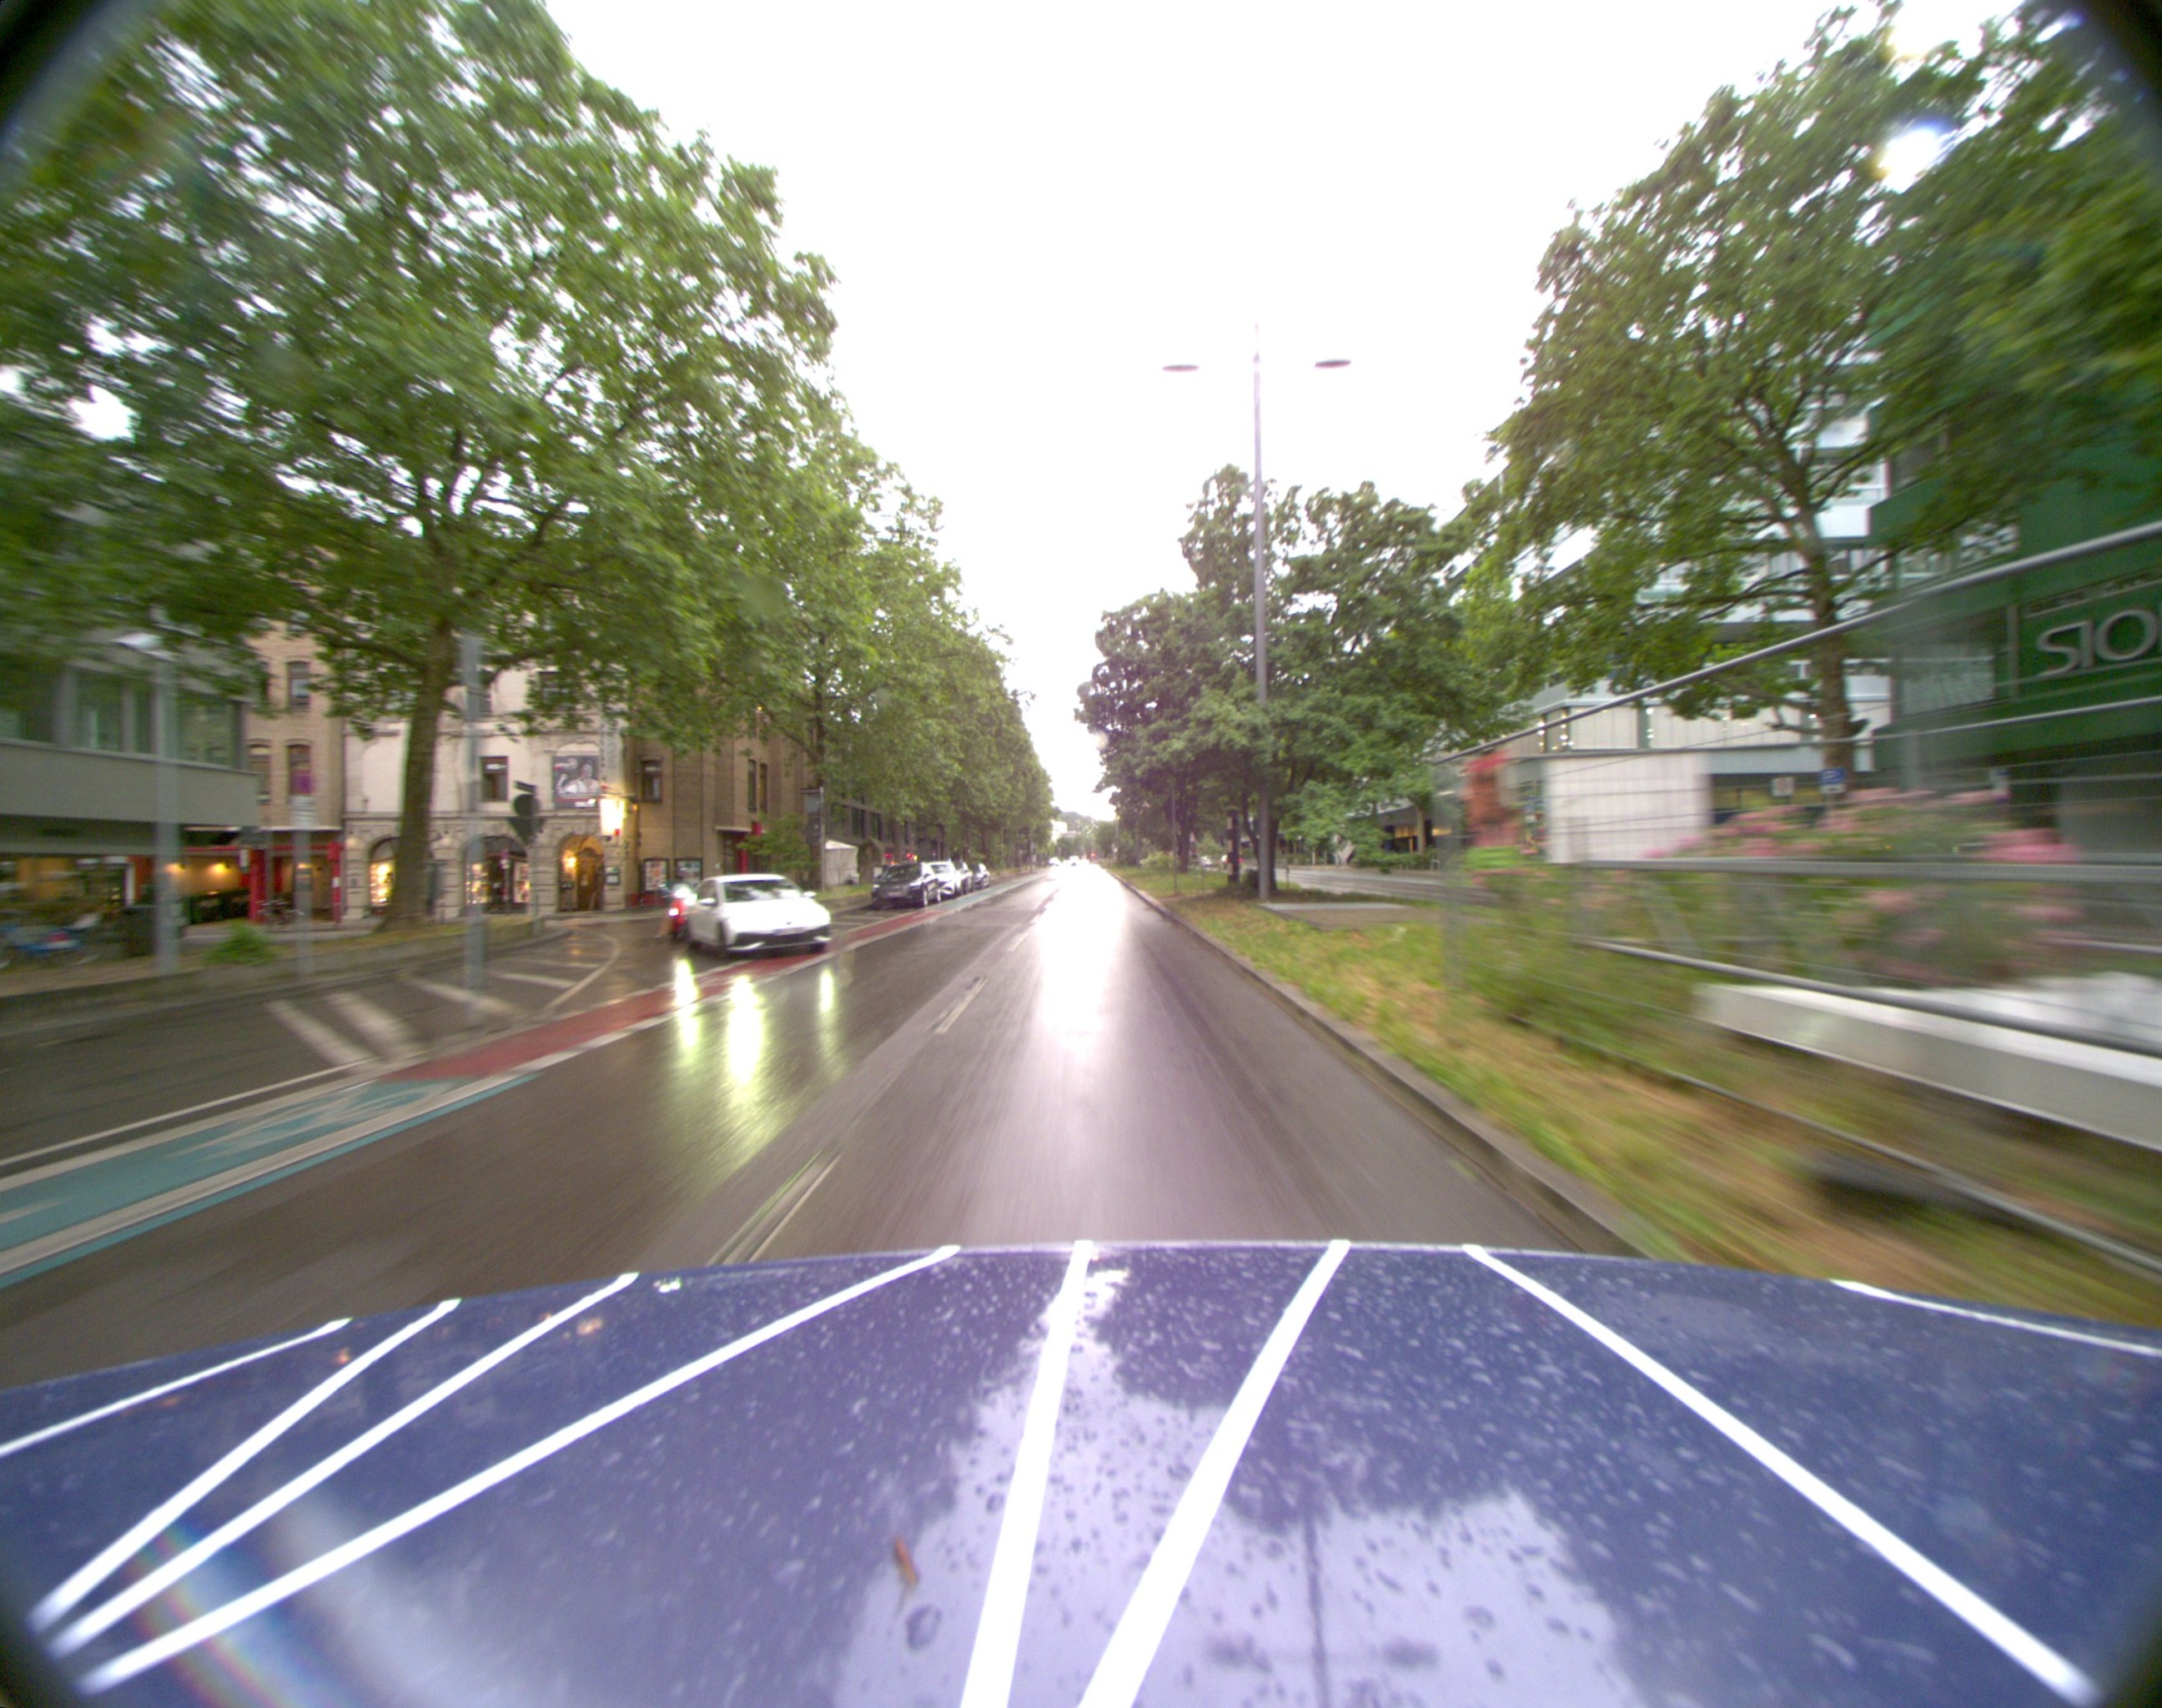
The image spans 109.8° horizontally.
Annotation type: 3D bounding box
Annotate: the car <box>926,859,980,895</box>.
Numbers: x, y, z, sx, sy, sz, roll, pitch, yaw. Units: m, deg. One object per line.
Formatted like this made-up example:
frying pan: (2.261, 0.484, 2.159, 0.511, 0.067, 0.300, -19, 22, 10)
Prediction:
car: (-6.352, 1.117, 38.290, 1.999, 1.580, 4.560, -2, 0, -1)

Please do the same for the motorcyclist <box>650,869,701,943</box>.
motorcyclist: (-9.451, 1.195, 17.743, 0.850, 1.635, 0.870, -2, 0, -17)

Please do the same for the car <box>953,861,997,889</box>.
car: (-6.057, 1.176, 43.917, 1.747, 1.424, 4.586, -2, 0, 1)

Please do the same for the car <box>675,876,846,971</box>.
car: (-6.264, 1.182, 14.528, 1.871, 1.436, 4.497, -2, 0, -38)

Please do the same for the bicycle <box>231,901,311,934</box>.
bicycle: (-25.941, 2.024, 24.342, 1.971, 0.932, 0.625, -2, 0, 5)

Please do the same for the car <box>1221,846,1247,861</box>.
car: (15.744, -0.008, 78.188, 1.998, 1.483, 4.757, 0, 0, 4)

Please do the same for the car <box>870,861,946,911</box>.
car: (-6.336, 1.122, 28.371, 1.797, 1.593, 4.423, -3, 0, 0)

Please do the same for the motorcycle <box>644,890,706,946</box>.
motorcycle: (-9.437, 1.454, 17.747, 0.869, 1.136, 2.019, -2, 0, -17)

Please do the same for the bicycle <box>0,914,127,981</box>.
bicycle: (-17.997, 1.593, 13.063, 0.643, 0.917, 1.914, 7, 0, 2)

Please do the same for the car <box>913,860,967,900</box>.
car: (-6.111, 1.076, 33.334, 1.756, 1.576, 4.409, -2, 0, -3)

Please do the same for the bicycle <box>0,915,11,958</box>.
bicycle: (-23.041, 1.745, 15.123, 0.584, 0.890, 2.076, -1, 0, -3)

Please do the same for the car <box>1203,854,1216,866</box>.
car: (15.885, 0.721, 93.675, 1.163, 1.454, 3.561, -1, 0, 3)

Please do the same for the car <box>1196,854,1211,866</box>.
car: (18.425, 0.879, 114.729, 1.997, 1.791, 4.283, -1, 0, 6)
